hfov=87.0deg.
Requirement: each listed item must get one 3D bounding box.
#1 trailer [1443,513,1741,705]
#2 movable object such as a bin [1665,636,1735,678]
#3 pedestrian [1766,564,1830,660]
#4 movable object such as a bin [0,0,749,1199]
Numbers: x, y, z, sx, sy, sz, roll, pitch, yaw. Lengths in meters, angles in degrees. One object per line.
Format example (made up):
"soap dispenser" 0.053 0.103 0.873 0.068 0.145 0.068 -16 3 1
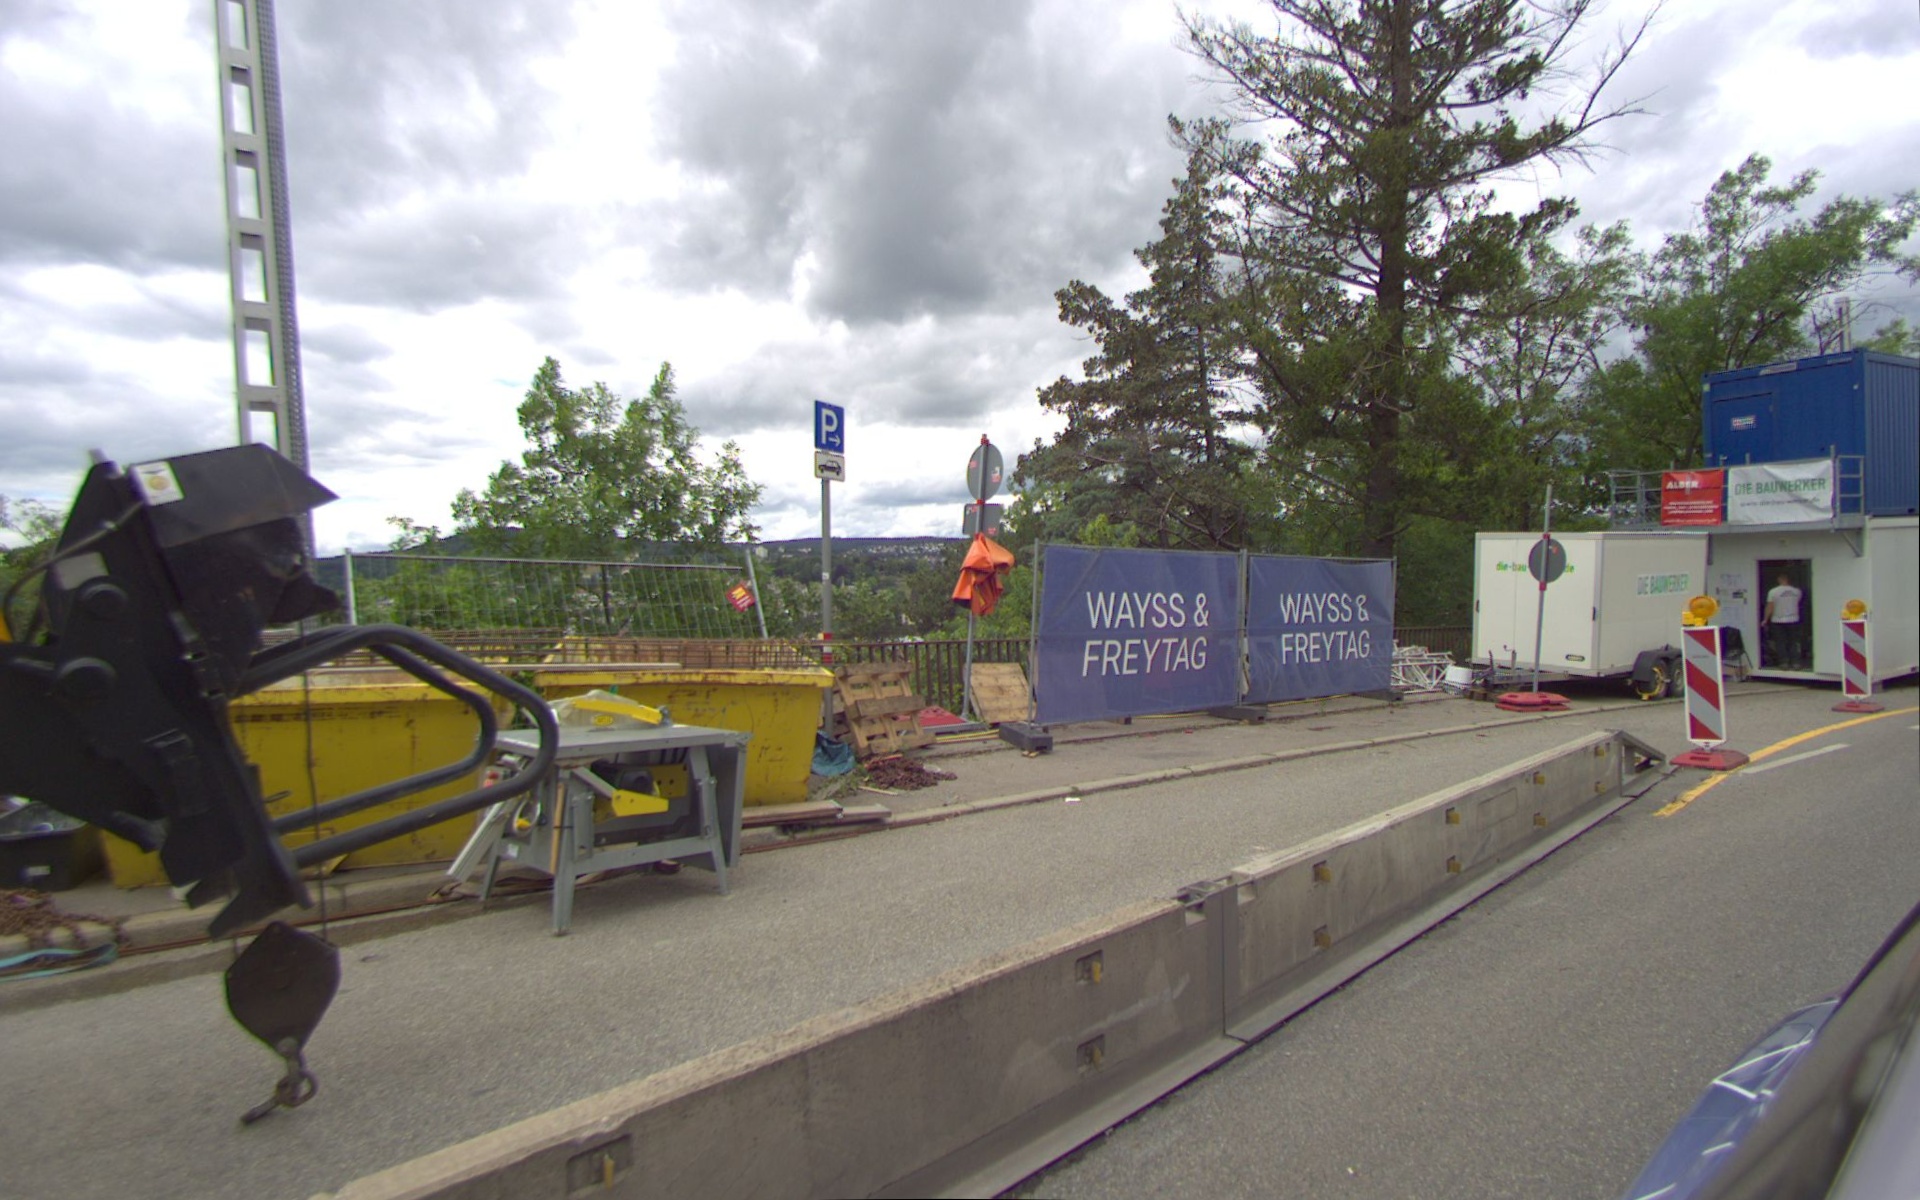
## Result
"trailer" 9.999 0.071 15.889 5.021 2.581 2.114 0 2 -35
"movable object such as a bin" 13.161 1.005 18.002 0.869 0.648 0.707 0 2 -32
"pedestrian" 14.982 0.222 18.106 0.641 1.683 0.646 -1 -2 18
"movable object such as a bin" -4.284 -0.093 0.942 7.690 3.110 2.814 0 -1 -43
